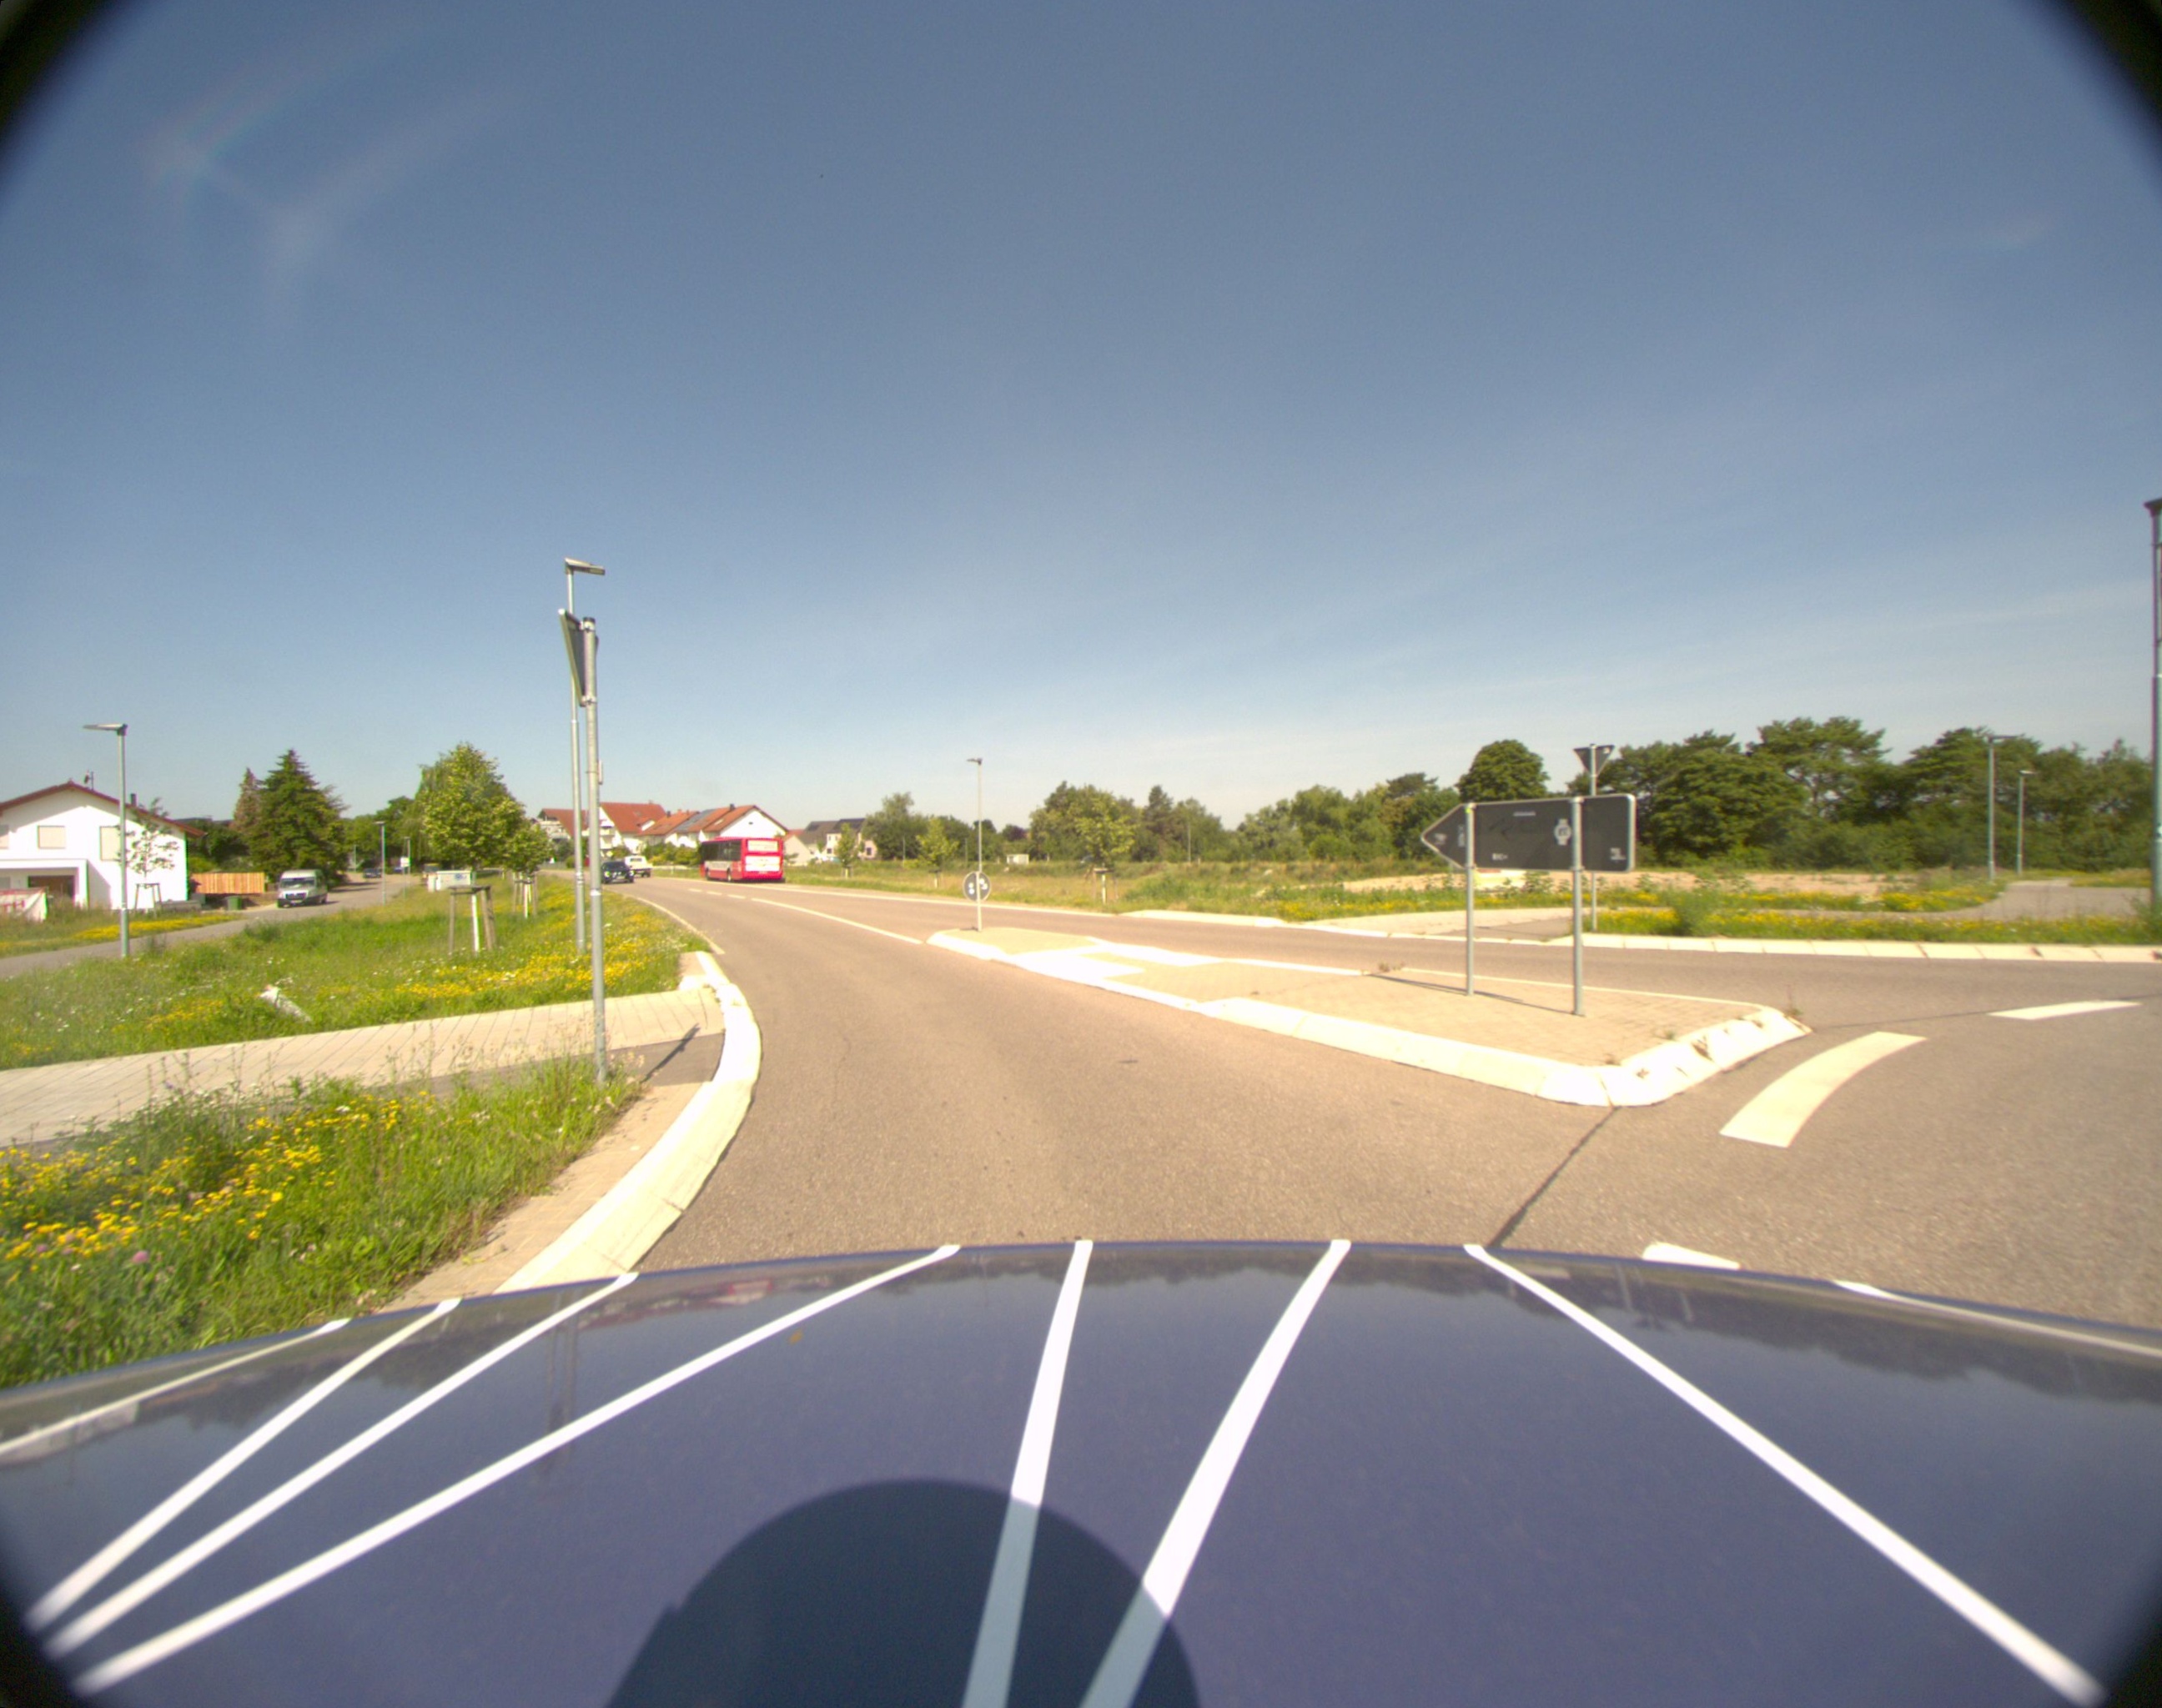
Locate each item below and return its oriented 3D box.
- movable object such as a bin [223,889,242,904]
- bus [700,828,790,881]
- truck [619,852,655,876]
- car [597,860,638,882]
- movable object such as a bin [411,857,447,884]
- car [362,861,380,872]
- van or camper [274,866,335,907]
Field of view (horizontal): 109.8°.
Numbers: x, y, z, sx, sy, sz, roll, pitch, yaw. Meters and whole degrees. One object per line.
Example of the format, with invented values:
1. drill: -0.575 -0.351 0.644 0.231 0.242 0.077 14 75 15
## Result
1. movable object such as a bin: -56.870 2.860 50.950 0.696 0.932 0.637 -2 1 -34
2. bus: -23.564 0.117 52.755 2.809 3.267 12.196 1 -1 -38
3. truck: -40.600 0.897 69.472 1.961 1.973 5.628 -3 2 -38
4. car: -33.919 1.214 55.543 1.938 1.552 3.989 -1 0 -41
5. movable object such as a bin: -66.108 1.705 77.128 2.327 2.449 6.927 -4 1 -38
6. car: -108.257 1.918 115.890 1.868 1.437 4.156 -4 3 -42
7. van or camper: -56.153 2.294 55.074 2.183 2.586 6.013 -3 2 -38
